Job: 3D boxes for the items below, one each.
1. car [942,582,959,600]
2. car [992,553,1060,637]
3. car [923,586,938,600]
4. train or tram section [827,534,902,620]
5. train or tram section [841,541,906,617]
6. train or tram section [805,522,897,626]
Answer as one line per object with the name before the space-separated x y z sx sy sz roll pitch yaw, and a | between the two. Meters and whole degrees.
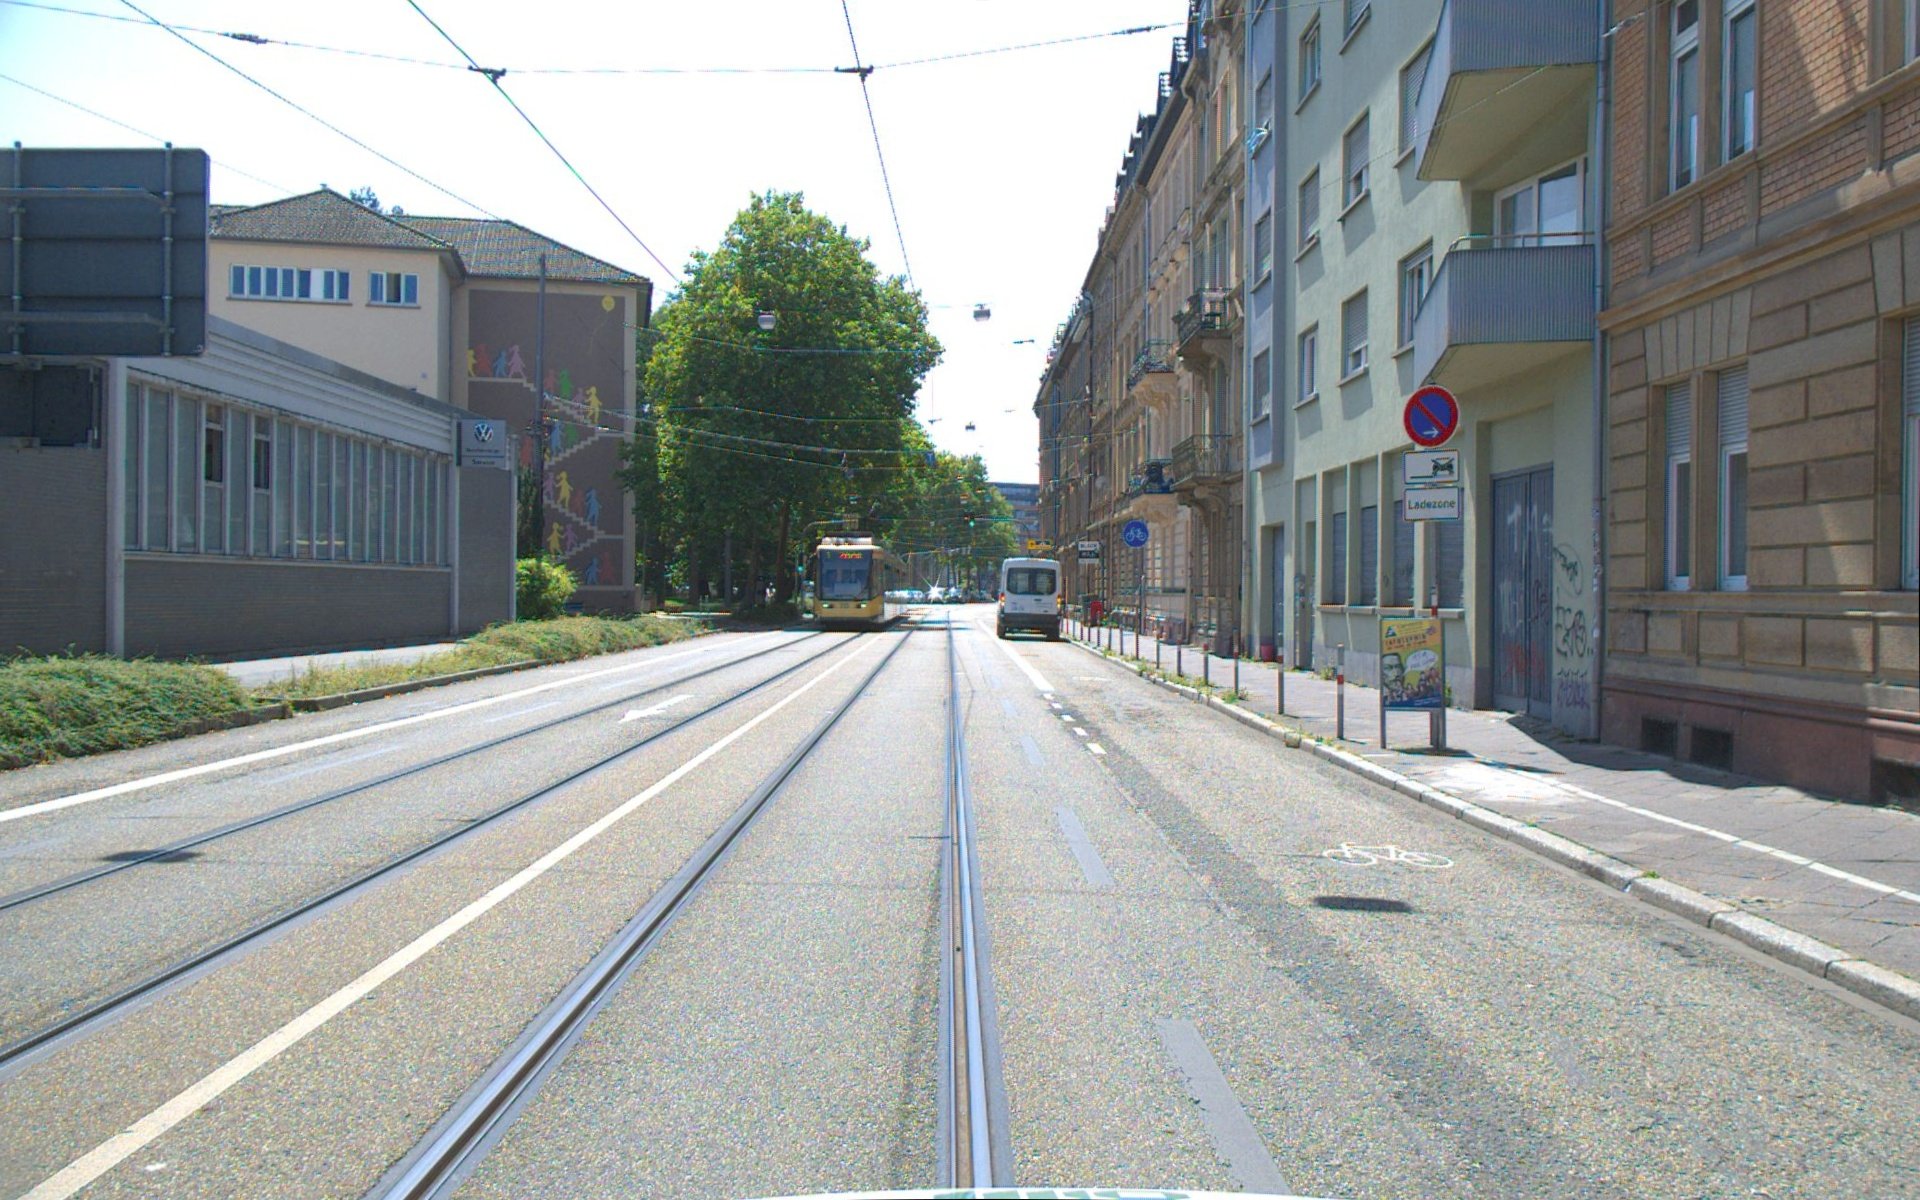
car | -1.093 -1.005 182.832 1.640 1.892 3.998 1 0 -3
car | 2.085 -0.184 53.759 2.025 2.544 5.454 1 0 1
car | -3.132 -0.728 176.158 1.497 1.433 3.488 1 0 -3
train or tram section | -4.271 -1.023 76.782 2.900 3.643 13.421 0 0 -1
train or tram section | -4.408 -1.074 87.026 2.900 3.643 13.421 0 0 -1
train or tram section | -4.078 -0.962 64.644 2.900 3.643 13.421 0 0 -1
